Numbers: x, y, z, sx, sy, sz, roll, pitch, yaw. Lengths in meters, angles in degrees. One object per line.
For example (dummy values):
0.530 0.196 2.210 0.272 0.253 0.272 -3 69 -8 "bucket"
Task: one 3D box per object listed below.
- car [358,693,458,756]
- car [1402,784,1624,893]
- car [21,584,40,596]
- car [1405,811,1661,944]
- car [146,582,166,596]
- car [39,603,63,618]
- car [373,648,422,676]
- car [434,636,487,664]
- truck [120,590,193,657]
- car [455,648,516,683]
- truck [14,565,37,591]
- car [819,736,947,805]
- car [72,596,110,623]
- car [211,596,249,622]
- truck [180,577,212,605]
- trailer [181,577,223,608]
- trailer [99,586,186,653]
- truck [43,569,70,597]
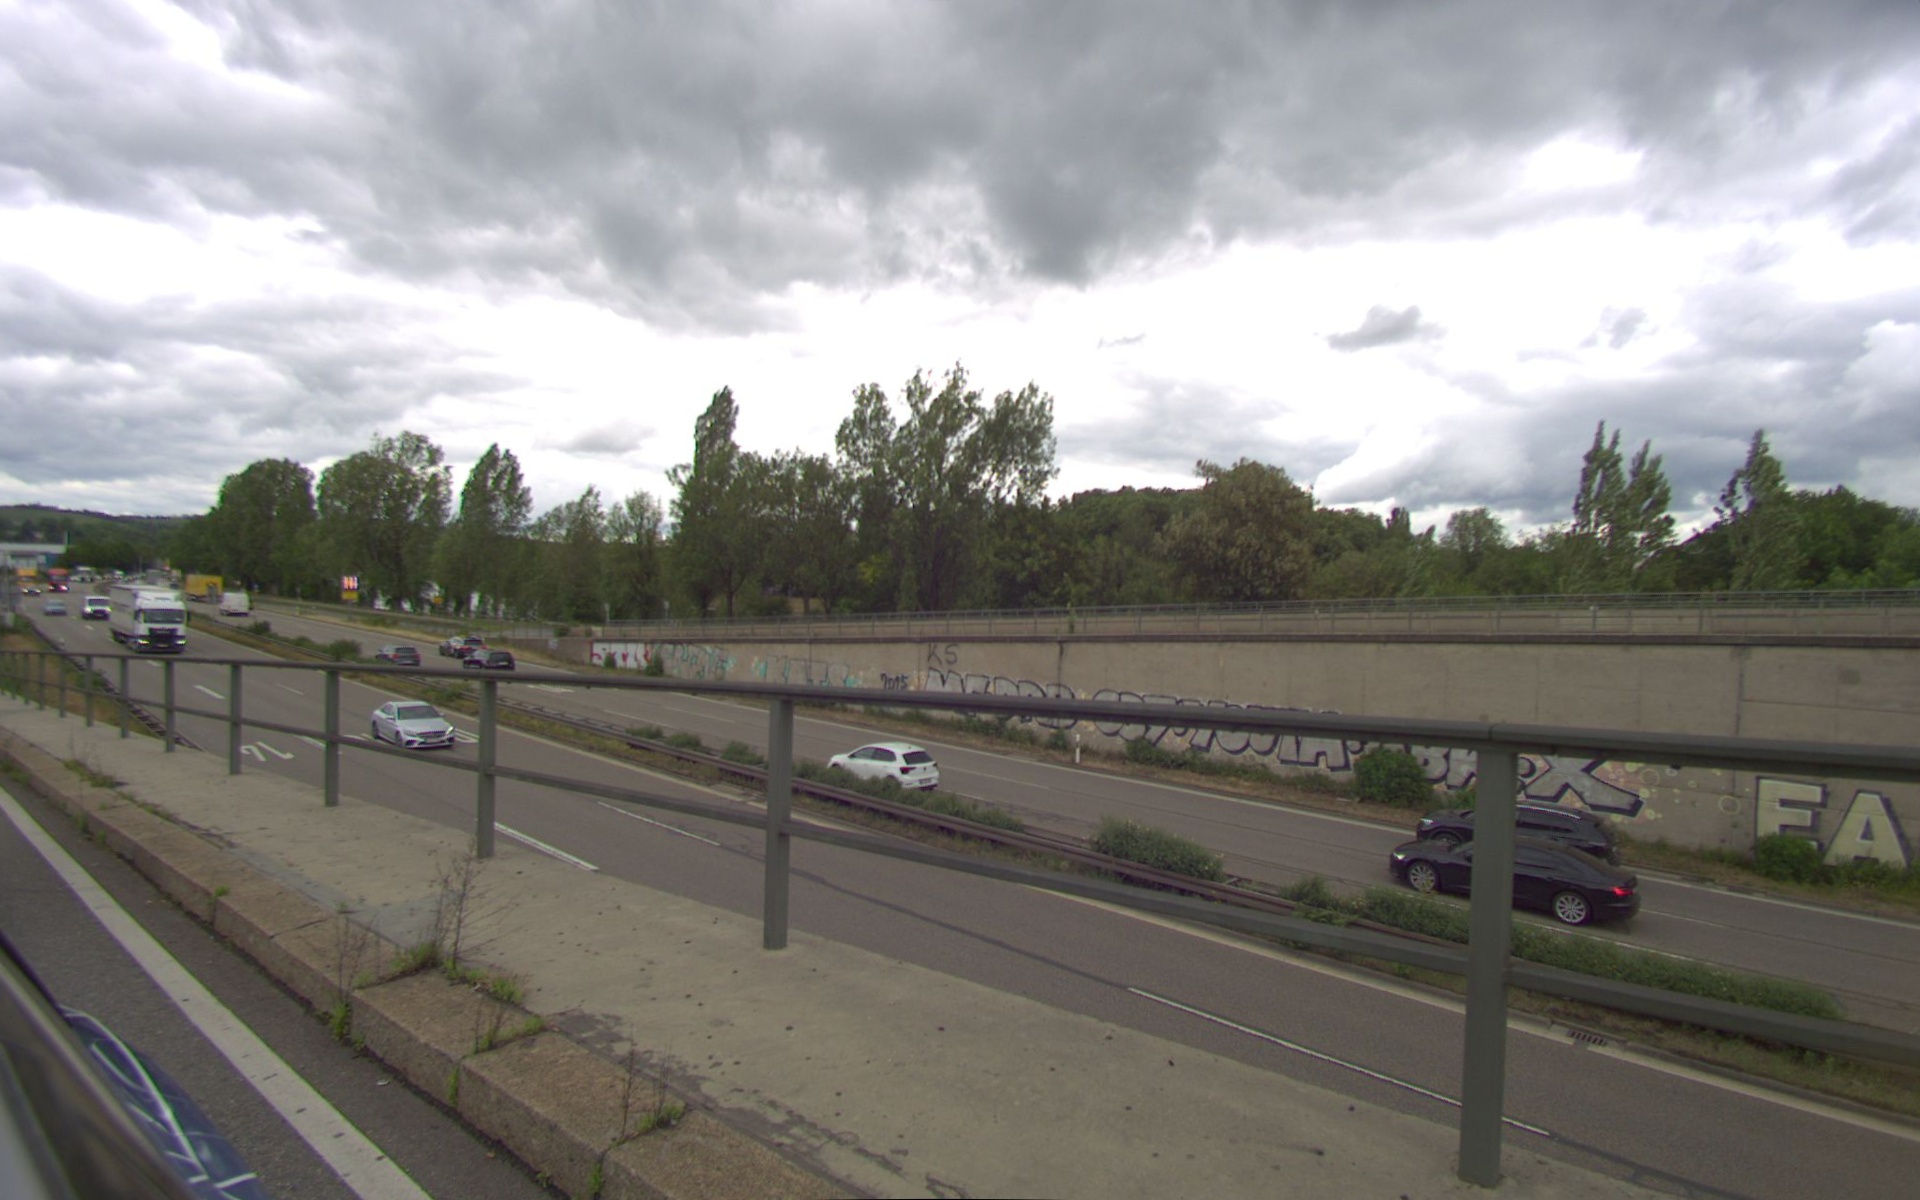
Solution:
-20.096 4.441 36.752 4.439 1.582 1.830 3 2 43 "car"
13.903 5.917 25.595 4.577 1.638 1.973 2 -1 41 "car"
-141.340 -1.482 153.871 4.002 1.679 1.786 3 1 44 "car"
12.485 5.941 22.216 4.577 1.638 1.973 2 -1 41 "car"
-162.765 -2.246 204.874 6.715 2.648 1.972 2 -1 43 "car"
-91.542 1.068 101.902 3.538 1.383 1.492 3 0 43 "car"
-35.019 3.832 62.973 3.652 1.464 1.695 3 1 44 "car"
-35.691 3.564 72.237 4.635 1.664 1.839 2 0 44 "car"
-53.695 1.529 67.585 5.876 4.140 2.970 2 0 44 "truck"
-28.549 3.924 60.866 4.183 1.731 1.861 2 0 43 "car"
-159.392 -3.742 172.636 8.175 4.153 2.382 3 1 44 "truck"
-2.476 5.335 32.057 3.896 1.505 1.756 2 -1 41 "car"
-84.252 0.898 98.101 6.502 2.259 2.076 3 0 43 "car"
-81.895 0.967 113.446 6.101 2.613 2.144 2 0 42 "car"
-118.420 -1.425 156.823 3.203 4.213 5.808 2 0 -45 "truck"
-114.911 -1.190 153.289 3.203 4.294 13.691 2 0 -44 "trailer"
-58.462 1.258 72.200 13.993 4.140 2.969 2 0 44 "trailer"
-162.255 -3.139 181.694 9.922 4.774 2.717 2 -2 44 "truck"
